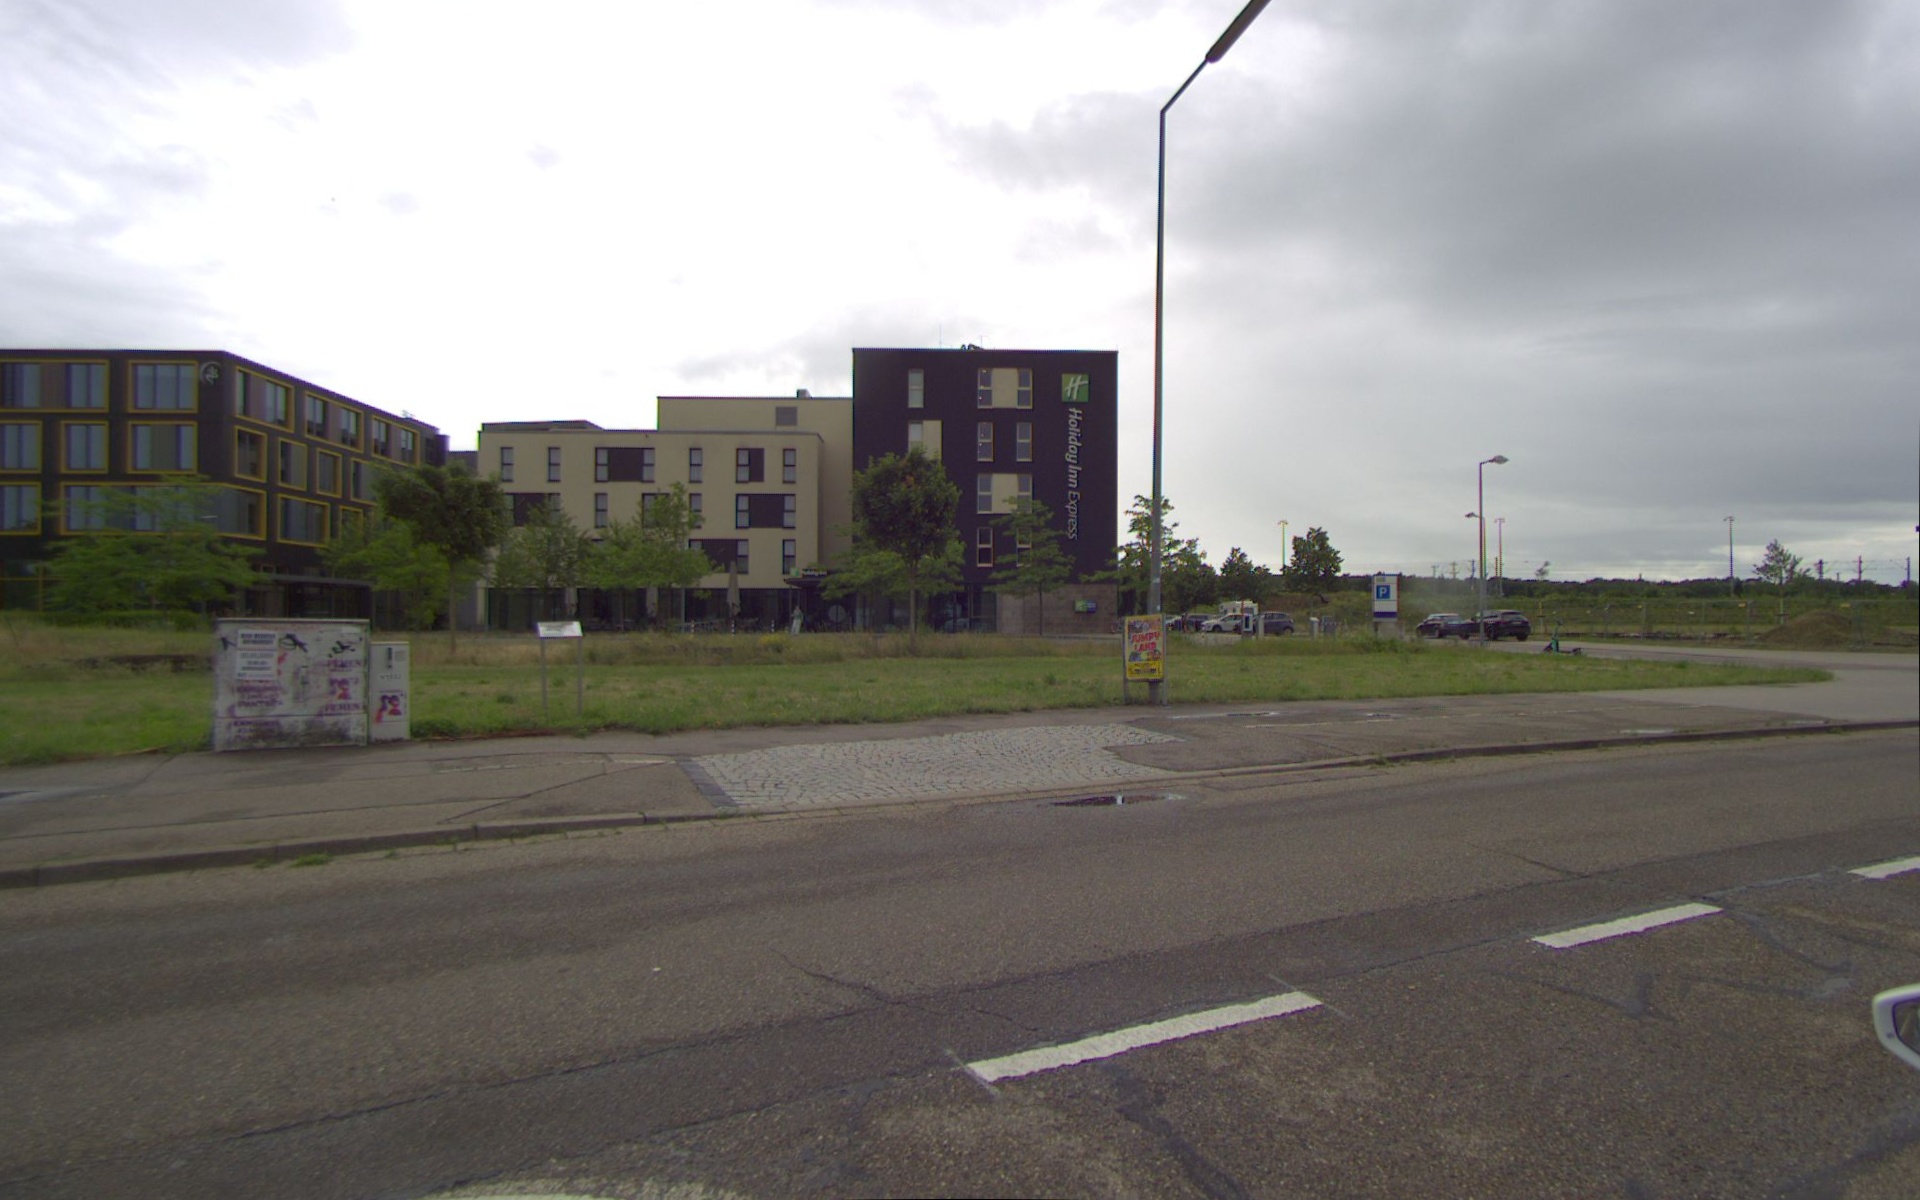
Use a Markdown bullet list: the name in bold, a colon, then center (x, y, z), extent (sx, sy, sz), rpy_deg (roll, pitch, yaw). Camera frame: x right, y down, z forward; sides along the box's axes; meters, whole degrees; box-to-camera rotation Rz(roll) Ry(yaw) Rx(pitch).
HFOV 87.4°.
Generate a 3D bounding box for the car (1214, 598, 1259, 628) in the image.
- **car**: center (28.198, 1.320, 102.786), extent (2.661, 2.996, 6.576), rpy_deg (-1, -1, -1)

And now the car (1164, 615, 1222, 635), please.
- **car**: center (17.592, 1.882, 75.976), extent (3.924, 1.416, 1.744), rpy_deg (0, -1, -6)

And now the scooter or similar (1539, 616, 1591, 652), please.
- **scooter or similar**: center (20.769, 1.162, 34.497), extent (0.564, 1.184, 1.457), rpy_deg (1, 0, -27)

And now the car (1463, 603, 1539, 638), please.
- **car**: center (29.371, 1.104, 54.656), extent (1.961, 1.847, 4.000), rpy_deg (-1, -1, 0)

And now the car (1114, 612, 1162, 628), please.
- **car**: center (15.800, 1.787, 89.440), extent (3.923, 1.478, 1.744), rpy_deg (0, -1, -4)

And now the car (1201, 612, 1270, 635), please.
- **car**: center (18.983, 1.600, 69.287), extent (4.078, 1.537, 1.997), rpy_deg (-1, -1, -9)

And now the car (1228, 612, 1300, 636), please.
- **car**: center (18.713, 1.472, 61.873), extent (3.923, 1.461, 1.698), rpy_deg (-1, -1, -3)

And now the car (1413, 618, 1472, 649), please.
- **car**: center (28.906, 1.960, 60.275), extent (1.769, 1.776, 3.676), rpy_deg (-1, -1, 1)

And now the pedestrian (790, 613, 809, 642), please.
- **pedestrian**: center (-8.755, 1.494, 54.751), extent (0.862, 1.591, 0.950), rpy_deg (-1, 0, -18)
